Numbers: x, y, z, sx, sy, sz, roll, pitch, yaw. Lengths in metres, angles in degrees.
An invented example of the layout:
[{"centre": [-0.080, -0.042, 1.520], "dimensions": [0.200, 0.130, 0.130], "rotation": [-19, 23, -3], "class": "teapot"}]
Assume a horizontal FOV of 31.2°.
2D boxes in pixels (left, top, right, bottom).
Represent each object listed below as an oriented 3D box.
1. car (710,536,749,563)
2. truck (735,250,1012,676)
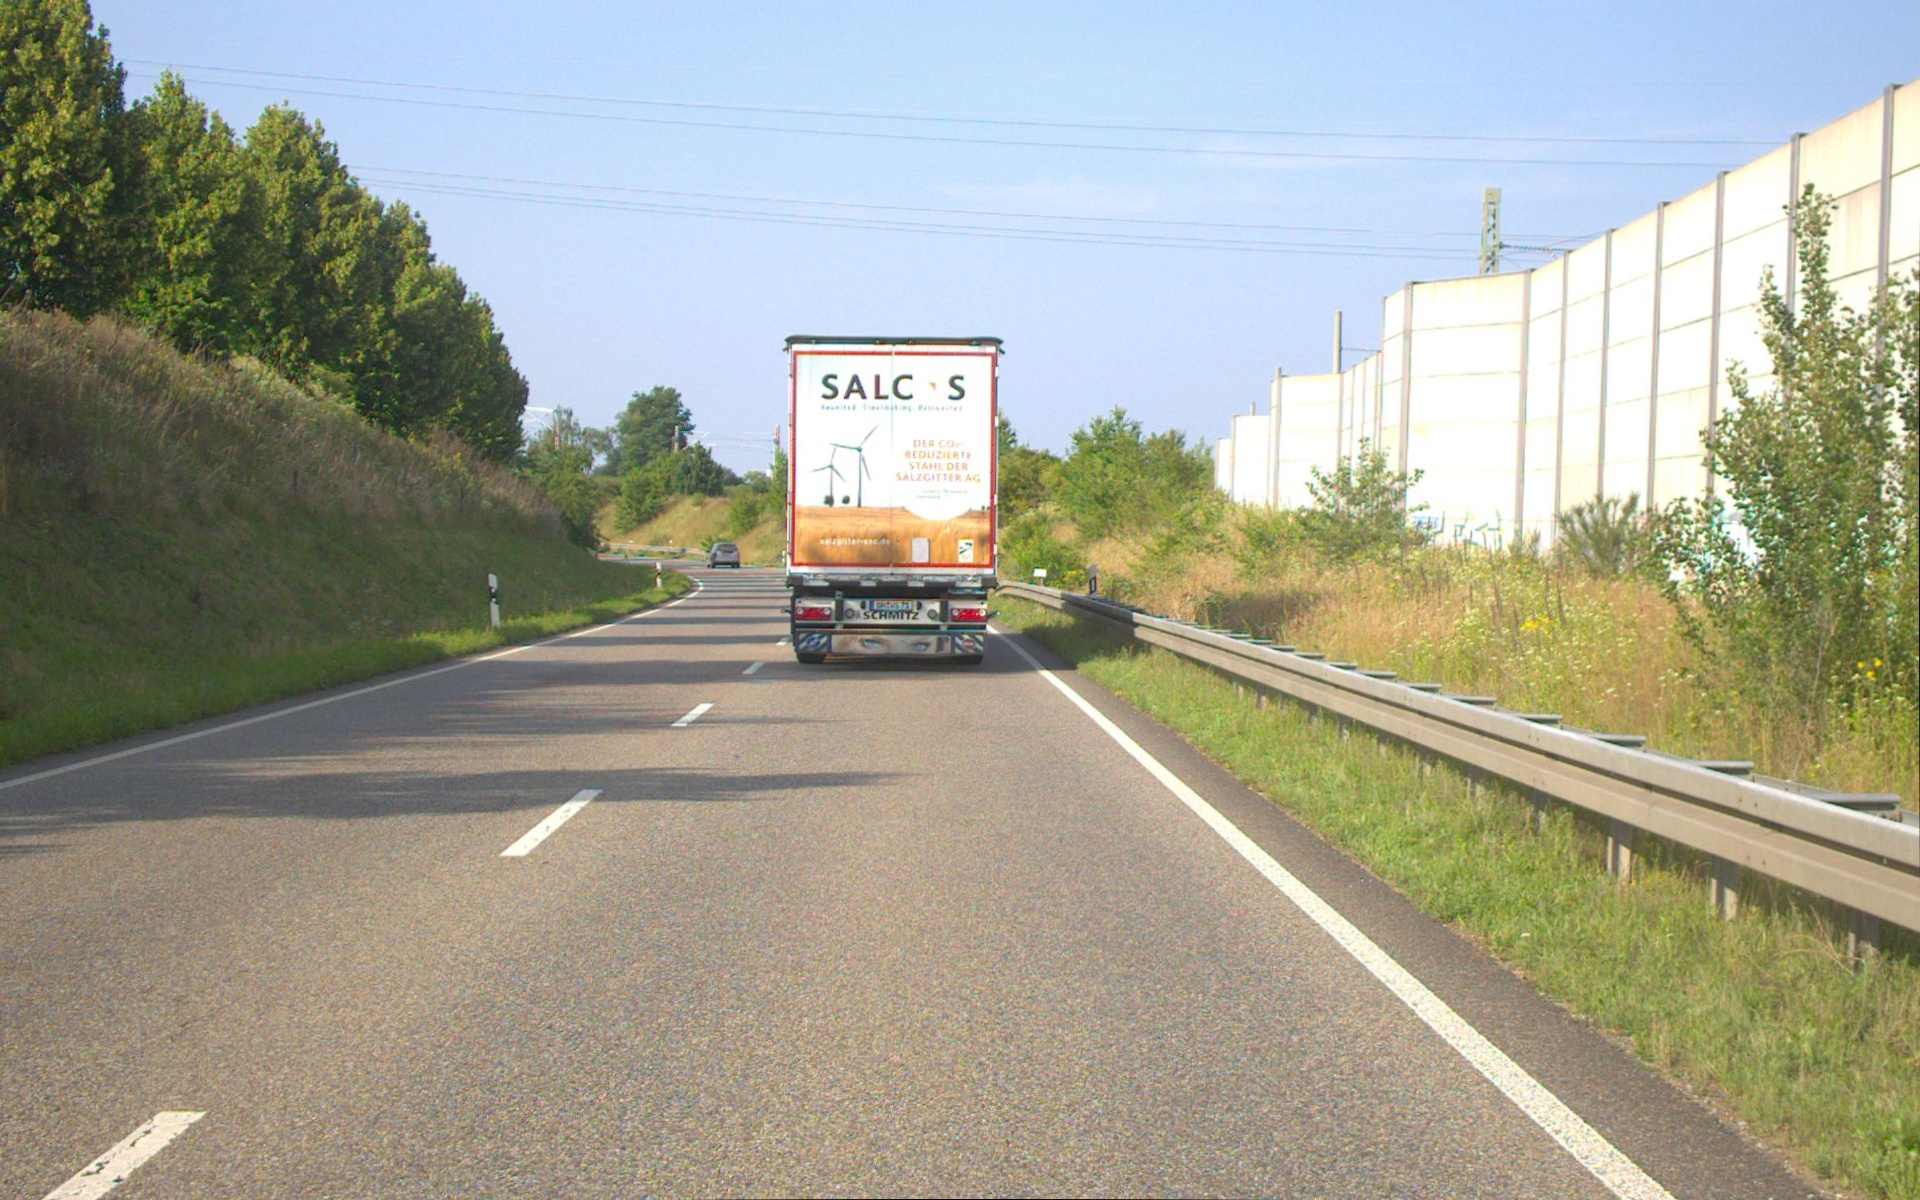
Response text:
[{"centre": [-13.817, -3.053, 206.460], "dimensions": [2.046, 1.576, 4.360], "rotation": [1, 1, -1], "class": "car"}, {"centre": [-1.293, -1.800, 47.318], "dimensions": [3.290, 5.072, 12.039], "rotation": [0, 1, -2], "class": "truck"}]
